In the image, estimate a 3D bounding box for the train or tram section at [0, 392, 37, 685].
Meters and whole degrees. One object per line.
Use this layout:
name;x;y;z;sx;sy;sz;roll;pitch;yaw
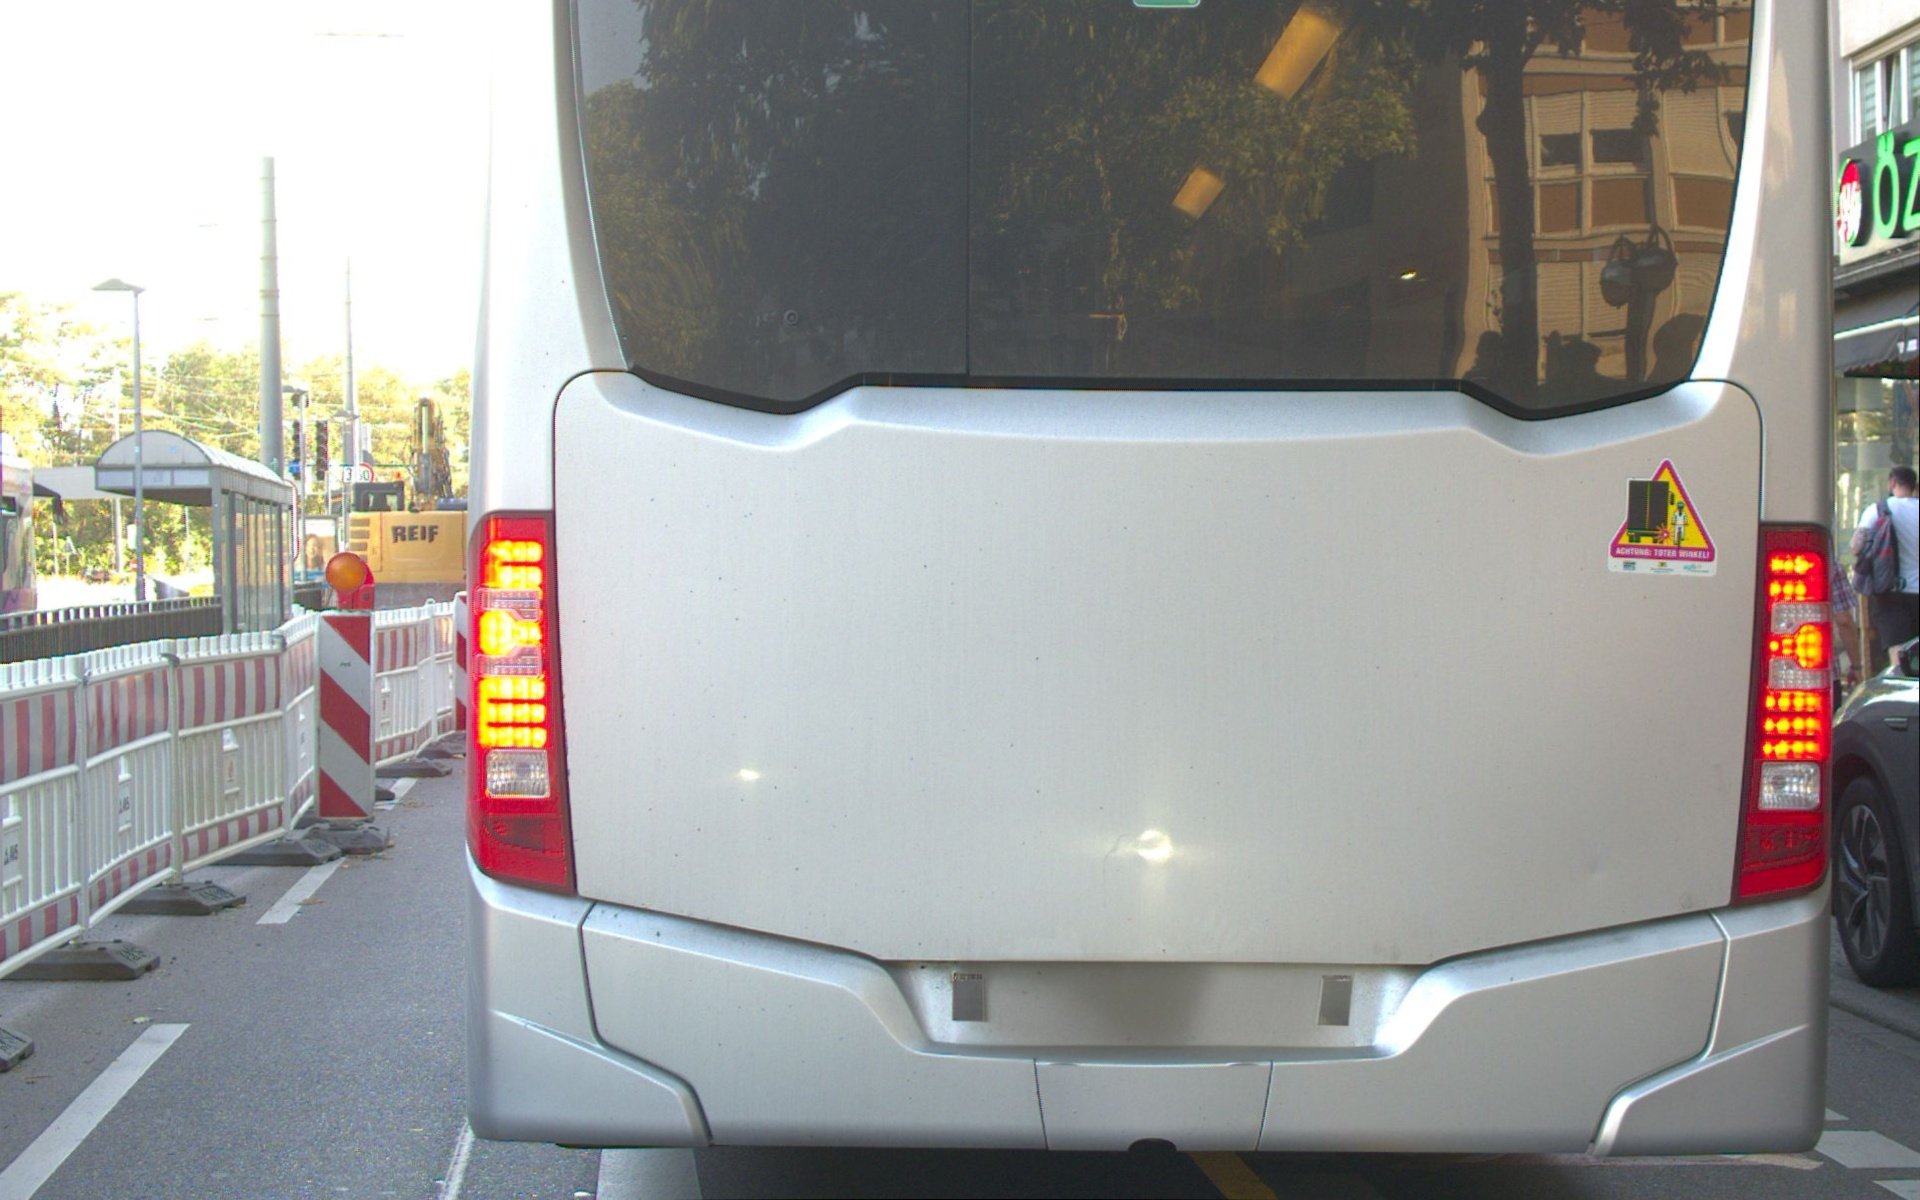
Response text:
train or tram section;-12.509;-0.694;38.268;2.686;3.520;11.584;-1;1;-7

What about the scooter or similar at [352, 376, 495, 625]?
scooter or similar;-10.037;-1.828;64.690;2.468;4.455;5.974;-1;1;-8

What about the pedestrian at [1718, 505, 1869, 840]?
pedestrian;4.261;0.363;17.553;0.664;1.661;0.600;-2;0;16

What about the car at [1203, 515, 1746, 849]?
car;2.746;0.364;19.433;1.993;1.576;4.369;-3;1;-5

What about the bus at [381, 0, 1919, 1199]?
bus;0.292;-0.188;9.877;2.611;3.115;7.993;1;1;-1

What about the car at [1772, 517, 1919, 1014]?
car;4.117;0.511;10.174;1.993;1.576;4.369;-3;1;-5

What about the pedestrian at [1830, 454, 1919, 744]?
pedestrian;6.579;-0.014;24.200;0.685;2.007;0.786;-1;1;-1

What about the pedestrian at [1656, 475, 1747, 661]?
pedestrian;7.396;-0.319;34.312;0.685;1.830;0.786;-1;1;-3
